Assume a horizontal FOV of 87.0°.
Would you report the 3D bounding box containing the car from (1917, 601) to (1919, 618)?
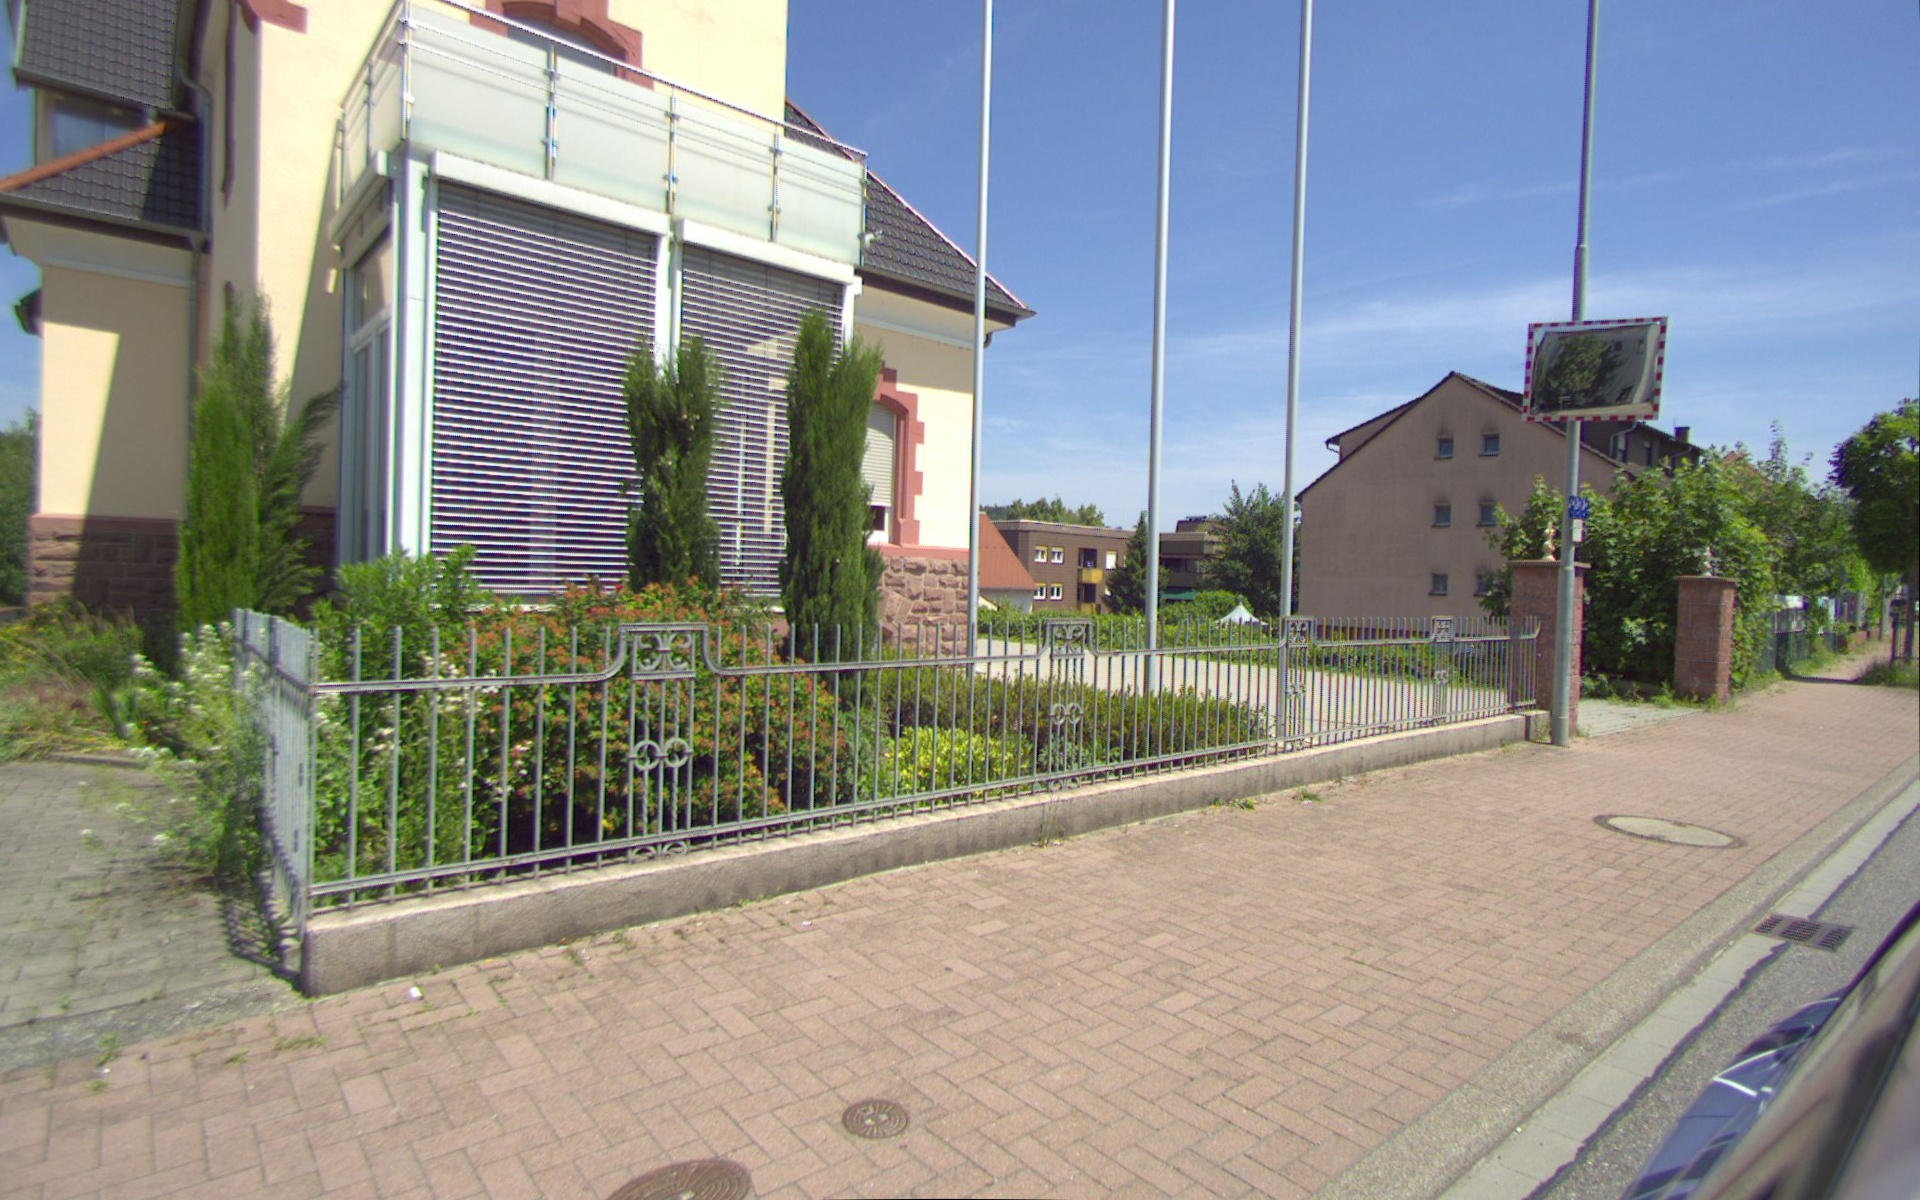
[{"bbox_3d":[97.114,0.994,101.418,1.633,1.600,3.513,4,3,44],"label":"car"}]
